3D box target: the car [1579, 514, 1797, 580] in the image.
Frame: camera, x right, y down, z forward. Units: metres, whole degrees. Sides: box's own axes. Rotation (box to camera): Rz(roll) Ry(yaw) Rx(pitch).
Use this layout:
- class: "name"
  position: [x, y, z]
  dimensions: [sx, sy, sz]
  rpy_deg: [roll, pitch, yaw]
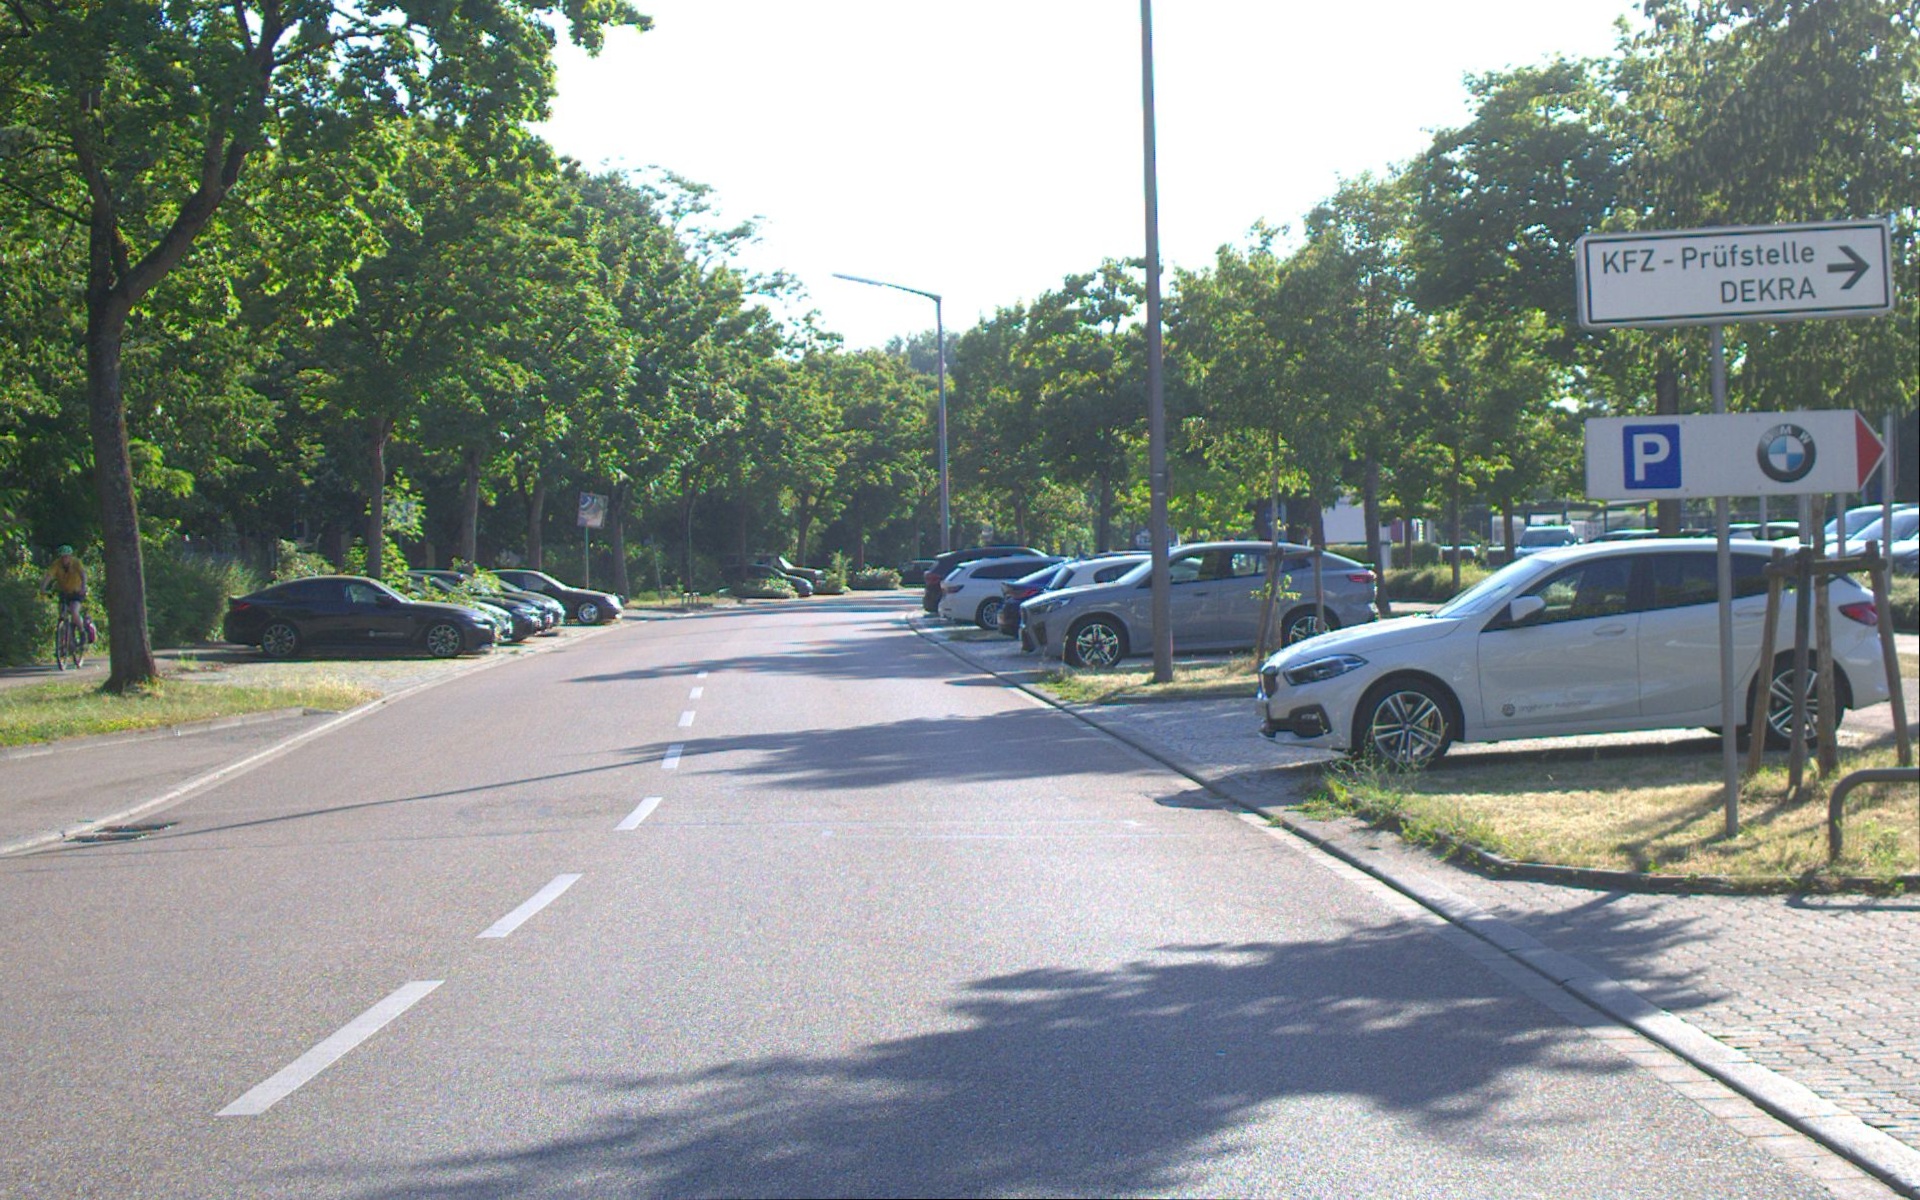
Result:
- class: "car"
  position: [17.781, -1.292, 84.037]
  dimensions: [4.784, 1.459, 2.042]
  rpy_deg: [-1, 1, 39]

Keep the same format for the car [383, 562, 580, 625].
- class: "car"
  position: [-11.434, -0.161, 82.292]
  dimensions: [4.479, 1.457, 2.000]
  rpy_deg: [0, 1, -2]

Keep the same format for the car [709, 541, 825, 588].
- class: "car"
  position: [-8.826, -1.624, 157.233]
  dimensions: [5.005, 2.013, 2.174]
  rpy_deg: [-1, 1, 5]

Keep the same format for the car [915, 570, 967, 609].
- class: "car"
  position: [-0.881, -0.511, 161.377]
  dimensions: [1.994, 1.711, 3.999]
  rpy_deg: [0, 1, 6]

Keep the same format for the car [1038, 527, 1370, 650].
- class: "car"
  position: [3.372, -0.177, 48.170]
  dimensions: [4.376, 1.474, 2.000]
  rpy_deg: [-3, 1, -2]

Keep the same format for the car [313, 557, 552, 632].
- class: "car"
  position: [-11.028, -0.126, 72.181]
  dimensions: [4.848, 1.525, 2.000]
  rpy_deg: [0, 1, -5]

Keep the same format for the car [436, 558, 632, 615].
- class: "car"
  position: [-11.364, -0.360, 91.896]
  dimensions: [5.034, 1.457, 2.000]
  rpy_deg: [0, 1, -2]

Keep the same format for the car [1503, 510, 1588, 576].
- class: "car"
  position: [17.048, -1.660, 99.958]
  dimensions: [2.033, 1.821, 4.973]
  rpy_deg: [-1, 1, 14]

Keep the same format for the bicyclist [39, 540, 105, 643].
- class: "bicyclist"
  position: [-13.479, -0.131, 52.215]
  dimensions: [0.731, 1.525, 0.951]
  rpy_deg: [-2, 1, -2]

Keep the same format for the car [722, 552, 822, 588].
- class: "car"
  position: [-8.365, -1.331, 153.197]
  dimensions: [4.212, 1.525, 1.705]
  rpy_deg: [-1, 1, 5]

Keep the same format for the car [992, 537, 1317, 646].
- class: "car"
  position: [2.857, -0.137, 51.255]
  dimensions: [4.624, 1.451, 2.000]
  rpy_deg: [-2, 1, -2]

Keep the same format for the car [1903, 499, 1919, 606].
- class: "car"
  position: [16.483, -0.813, 51.053]
  dimensions: [4.590, 1.568, 2.000]
  rpy_deg: [-3, 1, -28]

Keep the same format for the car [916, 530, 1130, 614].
- class: "car"
  position: [1.444, -0.636, 77.301]
  dimensions: [4.695, 1.745, 2.191]
  rpy_deg: [-1, 1, 2]

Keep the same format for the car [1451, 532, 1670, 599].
- class: "car"
  position: [14.403, -0.826, 82.554]
  dimensions: [4.784, 1.459, 1.996]
  rpy_deg: [-1, 1, 39]

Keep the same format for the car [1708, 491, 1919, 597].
- class: "car"
  position: [15.863, -1.022, 60.660]
  dimensions: [4.714, 1.684, 2.411]
  rpy_deg: [-3, 1, -29]

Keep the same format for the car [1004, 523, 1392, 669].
- class: "car"
  position: [2.987, -0.062, 43.736]
  dimensions: [4.589, 1.579, 2.000]
  rpy_deg: [-3, 1, -5]

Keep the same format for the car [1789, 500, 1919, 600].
- class: "car"
  position: [16.353, -0.855, 57.596]
  dimensions: [4.590, 1.569, 2.000]
  rpy_deg: [-1, -1, -29]

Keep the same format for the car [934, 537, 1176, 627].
- class: "car"
  position: [1.896, -0.381, 69.714]
  dimensions: [4.694, 1.474, 2.001]
  rpy_deg: [-3, 4, -2]

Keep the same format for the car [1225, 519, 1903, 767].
- class: "car"
  position: [4.112, 0.268, 23.908]
  dimensions: [4.197, 1.439, 2.088]
  rpy_deg: [-3, 1, -4]

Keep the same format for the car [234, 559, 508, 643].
- class: "car"
  position: [-10.449, 0.009, 61.241]
  dimensions: [4.648, 1.417, 1.917]
  rpy_deg: [0, 1, -4]

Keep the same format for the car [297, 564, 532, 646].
- class: "car"
  position: [-10.601, 0.090, 67.043]
  dimensions: [4.286, 1.525, 2.000]
  rpy_deg: [0, 1, -1]

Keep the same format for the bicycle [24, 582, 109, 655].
- class: "bicycle"
  position: [-13.510, 0.272, 52.031]
  dimensions: [0.765, 1.036, 2.218]
  rpy_deg: [-2, 1, -2]

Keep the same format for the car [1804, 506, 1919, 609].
- class: "car"
  position: [15.872, -0.729, 54.653]
  dimensions: [4.590, 1.568, 2.000]
  rpy_deg: [-2, 1, -29]
